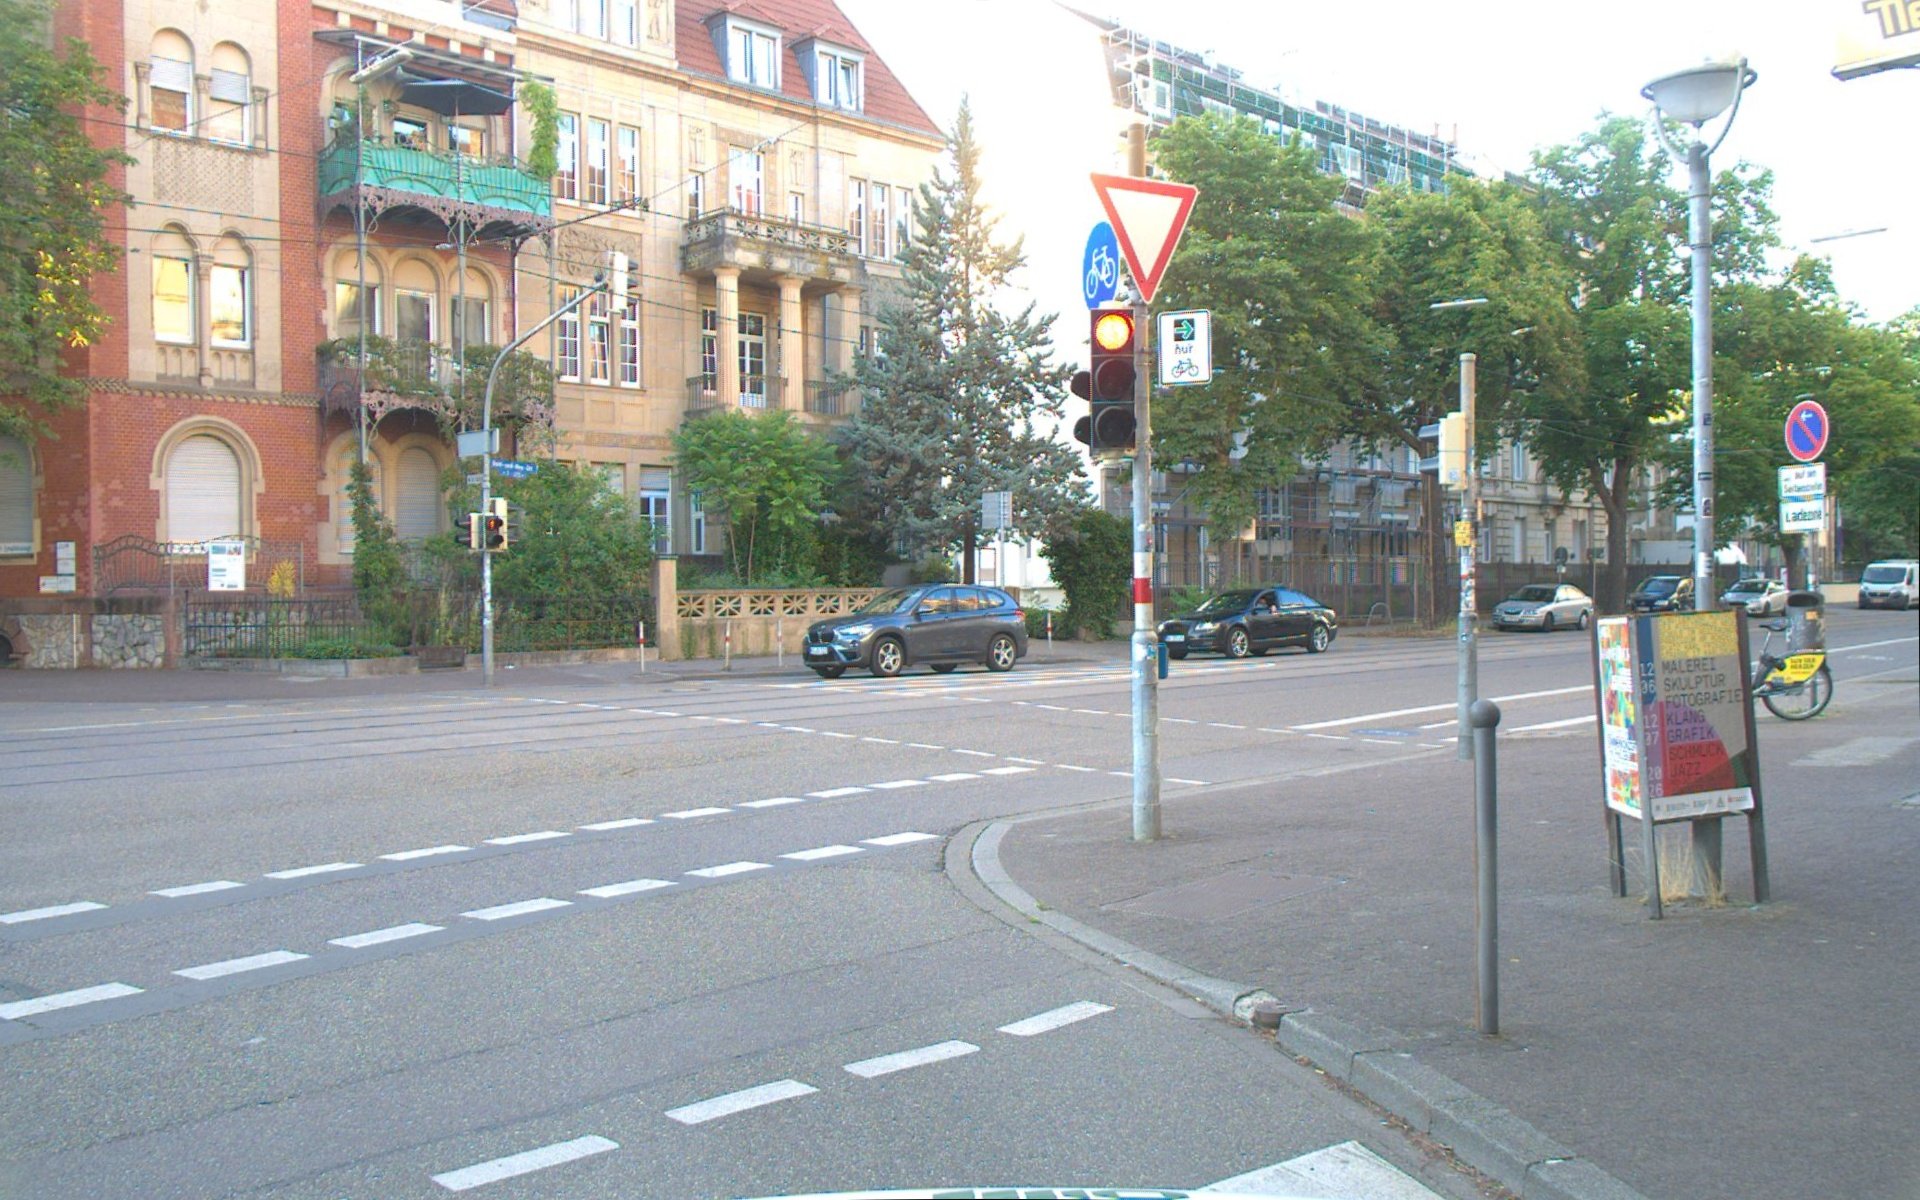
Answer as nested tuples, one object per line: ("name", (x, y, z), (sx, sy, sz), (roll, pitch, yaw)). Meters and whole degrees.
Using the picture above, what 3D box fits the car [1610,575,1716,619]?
("car", (25.365, -0.109, 59.639), (4.132, 1.508, 1.921), (-1, 0, -42))

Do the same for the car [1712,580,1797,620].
("car", (31.771, -0.022, 66.087), (1.916, 1.508, 4.294), (-1, 0, 42))

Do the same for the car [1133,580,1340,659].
("car", (5.957, 0.379, 35.301), (4.592, 1.536, 1.921), (-1, 0, -42))

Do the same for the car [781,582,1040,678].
("car", (-0.820, 0.477, 29.260), (4.381, 1.536, 1.921), (-1, 0, -42))

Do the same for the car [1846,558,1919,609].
("car", (44.287, -0.783, 79.223), (4.596, 2.356, 1.919), (-1, 0, -44))

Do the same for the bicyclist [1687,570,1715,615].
("bicyclist", (23.992, -0.249, 53.554), (0.729, 1.453, 0.547), (-1, 0, -38))

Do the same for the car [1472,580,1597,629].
("car", (18.201, 0.124, 52.330), (1.977, 1.451, 4.600), (-1, 0, 44))

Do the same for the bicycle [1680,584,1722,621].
("bicycle", (23.999, 0.075, 53.548), (1.591, 1.168, 0.547), (-1, 0, -38))

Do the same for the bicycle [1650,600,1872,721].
("bicycle", (7.886, 0.588, 16.365), (1.832, 1.150, 0.732), (-1, 0, 10))
